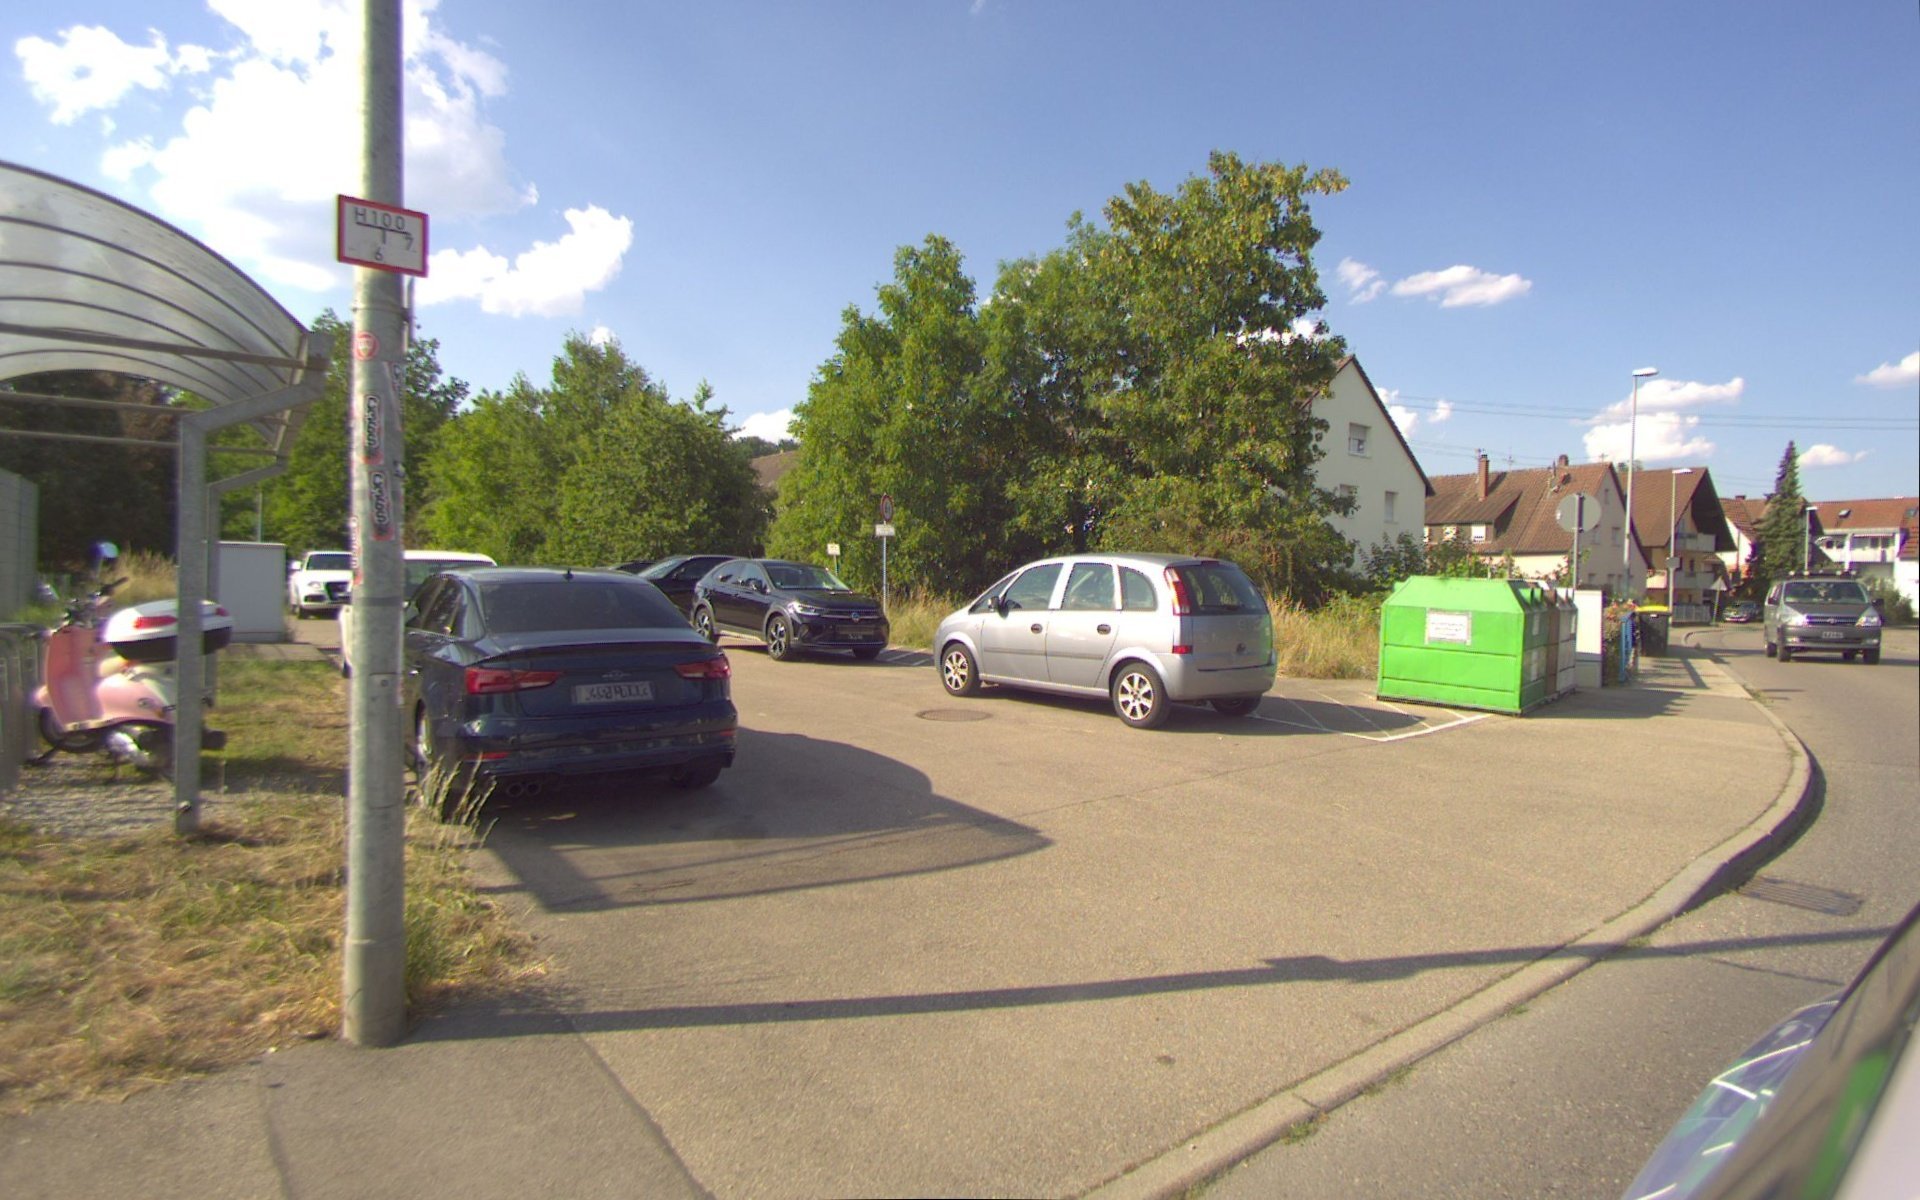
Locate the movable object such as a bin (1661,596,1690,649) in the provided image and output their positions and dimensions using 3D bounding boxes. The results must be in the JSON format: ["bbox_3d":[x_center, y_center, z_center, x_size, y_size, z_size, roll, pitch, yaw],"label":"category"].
[{"bbox_3d":[16.152,0.506,22.861,0.477,1.157,0.532,2,1,34],"label":"movable object such as a bin"}]

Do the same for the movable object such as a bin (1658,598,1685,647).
[{"bbox_3d":[17.215,0.538,24.491,0.477,1.157,0.532,2,1,34],"label":"movable object such as a bin"}]

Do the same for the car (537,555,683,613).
[{"bbox_3d":[-9.764,-0.443,28.289,3.509,1.518,1.682,0,2,-37],"label":"car"}]

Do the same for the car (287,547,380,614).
[{"bbox_3d":[-15.677,-0.514,25.250,1.703,1.530,4.190,0,2,-35],"label":"car"}]

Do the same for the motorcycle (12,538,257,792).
[{"bbox_3d":[-5.167,0.326,6.296,1.818,1.340,0.633,4,2,33],"label":"motorcycle"}]

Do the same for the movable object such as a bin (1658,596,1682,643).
[{"bbox_3d":[18.305,0.494,26.098,0.477,1.157,0.532,2,1,34],"label":"movable object such as a bin"}]

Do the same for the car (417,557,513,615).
[{"bbox_3d":[-13.098,-0.403,26.642,1.596,1.392,4.190,0,2,-35],"label":"car"}]

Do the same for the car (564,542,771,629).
[{"bbox_3d":[-6.145,-0.312,21.507,3.885,1.673,1.679,0,2,-43],"label":"car"}]

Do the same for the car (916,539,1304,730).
[{"bbox_3d":[1.391,0.209,10.673,1.653,1.623,3.948,-1,3,-40],"label":"car"}]

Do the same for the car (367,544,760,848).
[{"bbox_3d":[-2.996,0.377,7.049,1.595,1.434,4.079,0,3,-35],"label":"car"}]

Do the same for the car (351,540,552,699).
[{"bbox_3d":[-5.723,0.101,11.202,1.470,1.434,3.450,0,3,-35],"label":"car"}]

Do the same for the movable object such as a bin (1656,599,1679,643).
[{"bbox_3d":[19.287,0.565,27.592,0.477,1.157,0.532,2,1,34],"label":"movable object such as a bin"}]

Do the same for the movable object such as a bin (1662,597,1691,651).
[{"bbox_3d":[15.845,0.520,22.385,0.477,1.157,0.532,2,1,34],"label":"movable object such as a bin"}]

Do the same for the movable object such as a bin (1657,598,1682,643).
[{"bbox_3d":[18.631,0.529,26.576,0.477,1.157,0.532,2,1,34],"label":"movable object such as a bin"}]

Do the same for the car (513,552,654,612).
[{"bbox_3d":[-11.037,-0.528,29.733,3.520,1.673,1.682,0,2,-37],"label":"car"}]

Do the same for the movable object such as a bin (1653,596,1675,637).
[{"bbox_3d":[20.552,0.478,29.566,0.477,1.157,0.532,2,1,34],"label":"movable object such as a bin"}]

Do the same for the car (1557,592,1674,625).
[{"bbox_3d":[32.044,0.392,49.606,1.698,1.476,4.479,0,1,-35],"label":"car"}]

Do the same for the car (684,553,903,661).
[{"bbox_3d":[-2.735,0.022,15.976,1.653,1.466,3.948,-1,3,-40],"label":"car"}]

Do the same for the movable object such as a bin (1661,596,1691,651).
[{"bbox_3d":[15.524,0.509,21.954,0.477,1.157,0.532,2,1,34],"label":"movable object such as a bin"}]

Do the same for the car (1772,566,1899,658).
[{"bbox_3d":[21.190,0.233,24.672,1.809,2.025,4.761,-1,0,35],"label":"car"}]
